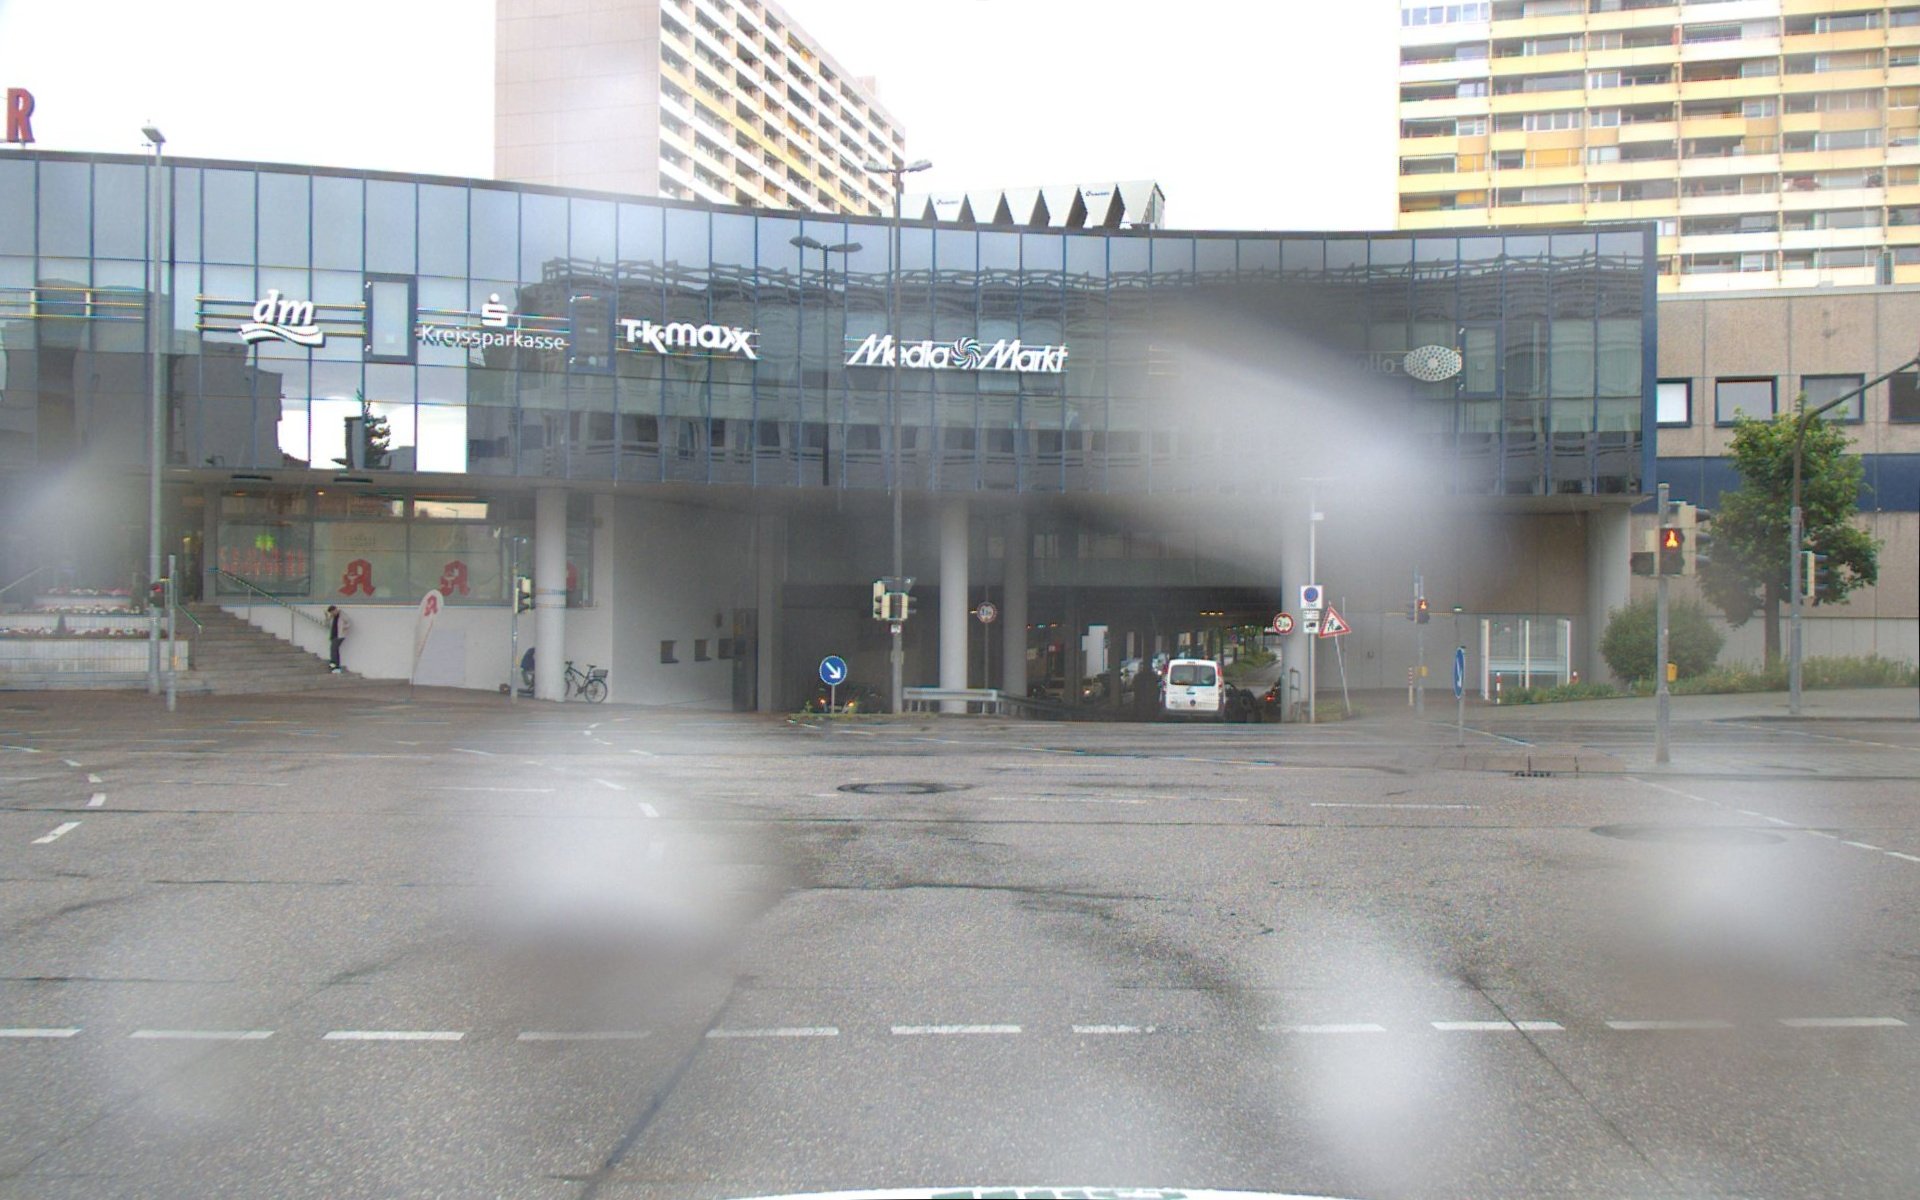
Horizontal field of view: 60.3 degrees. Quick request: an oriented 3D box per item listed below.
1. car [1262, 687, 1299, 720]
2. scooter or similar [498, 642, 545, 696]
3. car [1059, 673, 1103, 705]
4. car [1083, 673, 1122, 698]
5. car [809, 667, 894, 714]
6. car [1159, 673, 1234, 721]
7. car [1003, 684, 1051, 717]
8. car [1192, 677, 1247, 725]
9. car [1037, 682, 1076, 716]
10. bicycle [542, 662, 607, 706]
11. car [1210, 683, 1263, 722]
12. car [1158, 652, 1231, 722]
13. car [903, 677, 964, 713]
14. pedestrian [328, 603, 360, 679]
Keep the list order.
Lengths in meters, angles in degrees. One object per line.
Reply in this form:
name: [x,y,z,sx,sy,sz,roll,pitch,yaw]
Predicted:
car: [17.127,5.500,88.317,1.847,1.517,3.844,1,-1,11]
scooter or similar: [-11.757,1.848,44.350,1.148,1.397,0.487,2,-1,-17]
car: [7.249,5.317,98.874,1.951,1.693,4.003,2,-1,13]
car: [9.206,5.483,106.721,1.951,1.489,4.003,-1,-1,13]
car: [-3.817,3.241,59.005,1.852,1.496,4.029,0,-5,14]
car: [7.676,3.154,53.432,1.721,1.490,3.943,-1,-4,18]
car: [3.585,5.352,88.089,1.873,1.616,3.942,-1,-1,13]
car: [9.156,3.546,58.168,1.598,1.640,4.265,-1,-4,13]
car: [5.440,5.544,92.831,1.797,1.758,4.003,0,-1,9]
bicycle: [-10.414,2.284,44.714,1.567,1.035,0.447,8,-4,-33]
car: [10.568,3.896,62.965,1.741,1.425,4.002,-1,-3,13]
car: [6.468,2.380,45.594,1.885,1.829,4.299,0,-2,8]
car: [-1.113,4.073,71.032,1.733,1.490,3.878,-1,-3,13]
pedestrian: [-16.040,1.062,43.086,0.644,1.942,0.593,1,-1,-10]
